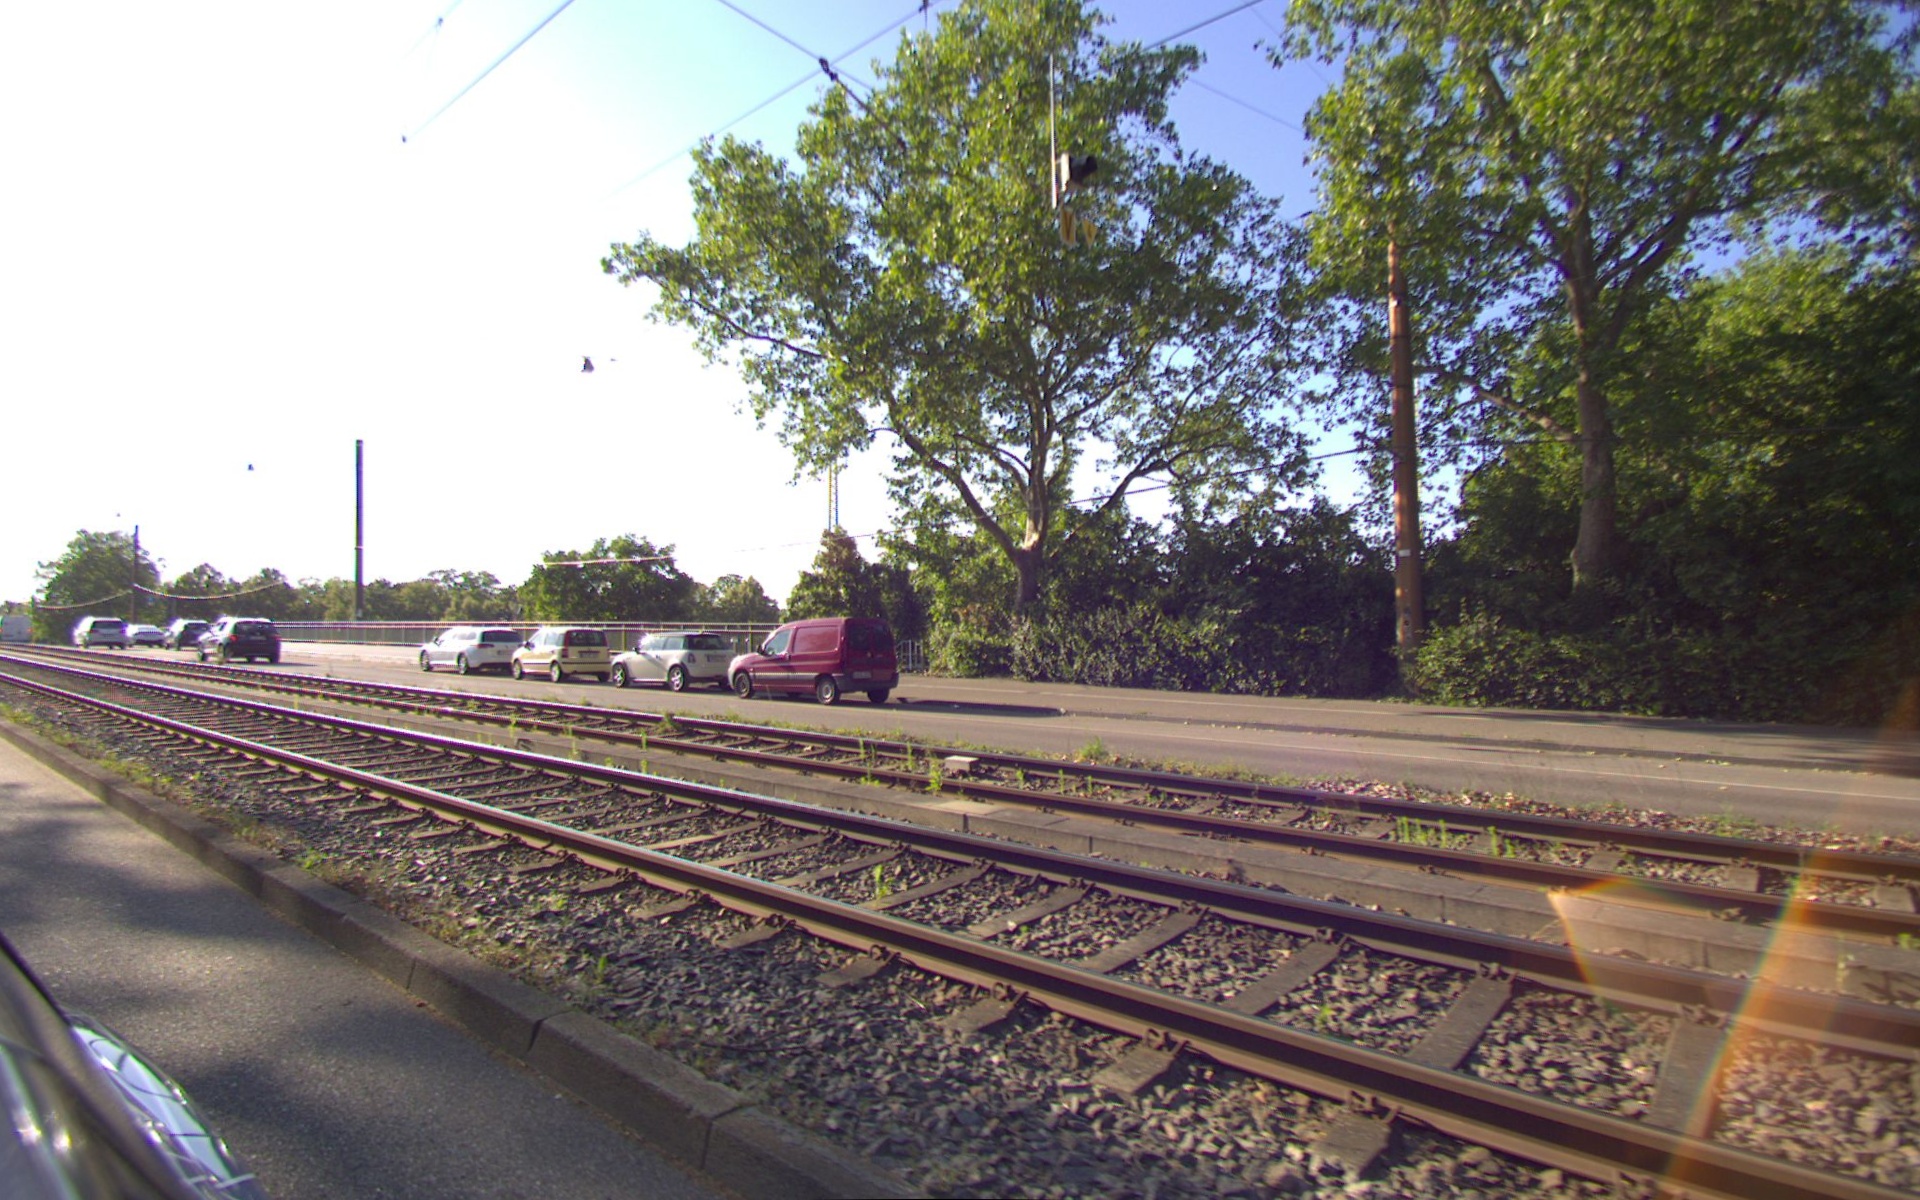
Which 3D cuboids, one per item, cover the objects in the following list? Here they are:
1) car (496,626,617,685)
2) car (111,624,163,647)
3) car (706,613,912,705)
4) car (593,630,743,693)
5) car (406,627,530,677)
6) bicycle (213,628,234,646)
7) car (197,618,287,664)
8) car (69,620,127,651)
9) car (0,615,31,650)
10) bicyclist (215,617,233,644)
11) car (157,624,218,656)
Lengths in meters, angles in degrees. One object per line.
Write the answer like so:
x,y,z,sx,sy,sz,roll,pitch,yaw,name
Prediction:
-11.487,1.538,28.724,3.788,1.543,1.616,-2,-2,41,car
-51.960,2.237,63.862,4.917,1.367,1.666,-1,-4,41,car
-3.332,1.213,21.723,4.681,1.767,1.724,-2,-2,40,car
-7.348,1.484,25.293,3.997,1.462,1.617,-2,-2,39,car
-15.868,1.647,32.502,4.951,1.475,1.724,-2,-2,40,car
-45.282,2.263,62.208,2.100,1.106,0.672,-2,0,43,bicycle
-27.083,1.539,38.152,4.391,1.636,1.724,-2,-3,41,car
-48.539,2.002,56.970,4.595,1.678,1.853,-2,-3,42,car
-75.122,2.585,79.516,6.031,2.613,2.067,-2,-4,38,car
-45.173,1.887,62.097,0.890,1.639,0.672,-2,0,42,bicyclist
-43.010,2.244,56.311,4.444,1.663,1.761,-2,-5,41,car
